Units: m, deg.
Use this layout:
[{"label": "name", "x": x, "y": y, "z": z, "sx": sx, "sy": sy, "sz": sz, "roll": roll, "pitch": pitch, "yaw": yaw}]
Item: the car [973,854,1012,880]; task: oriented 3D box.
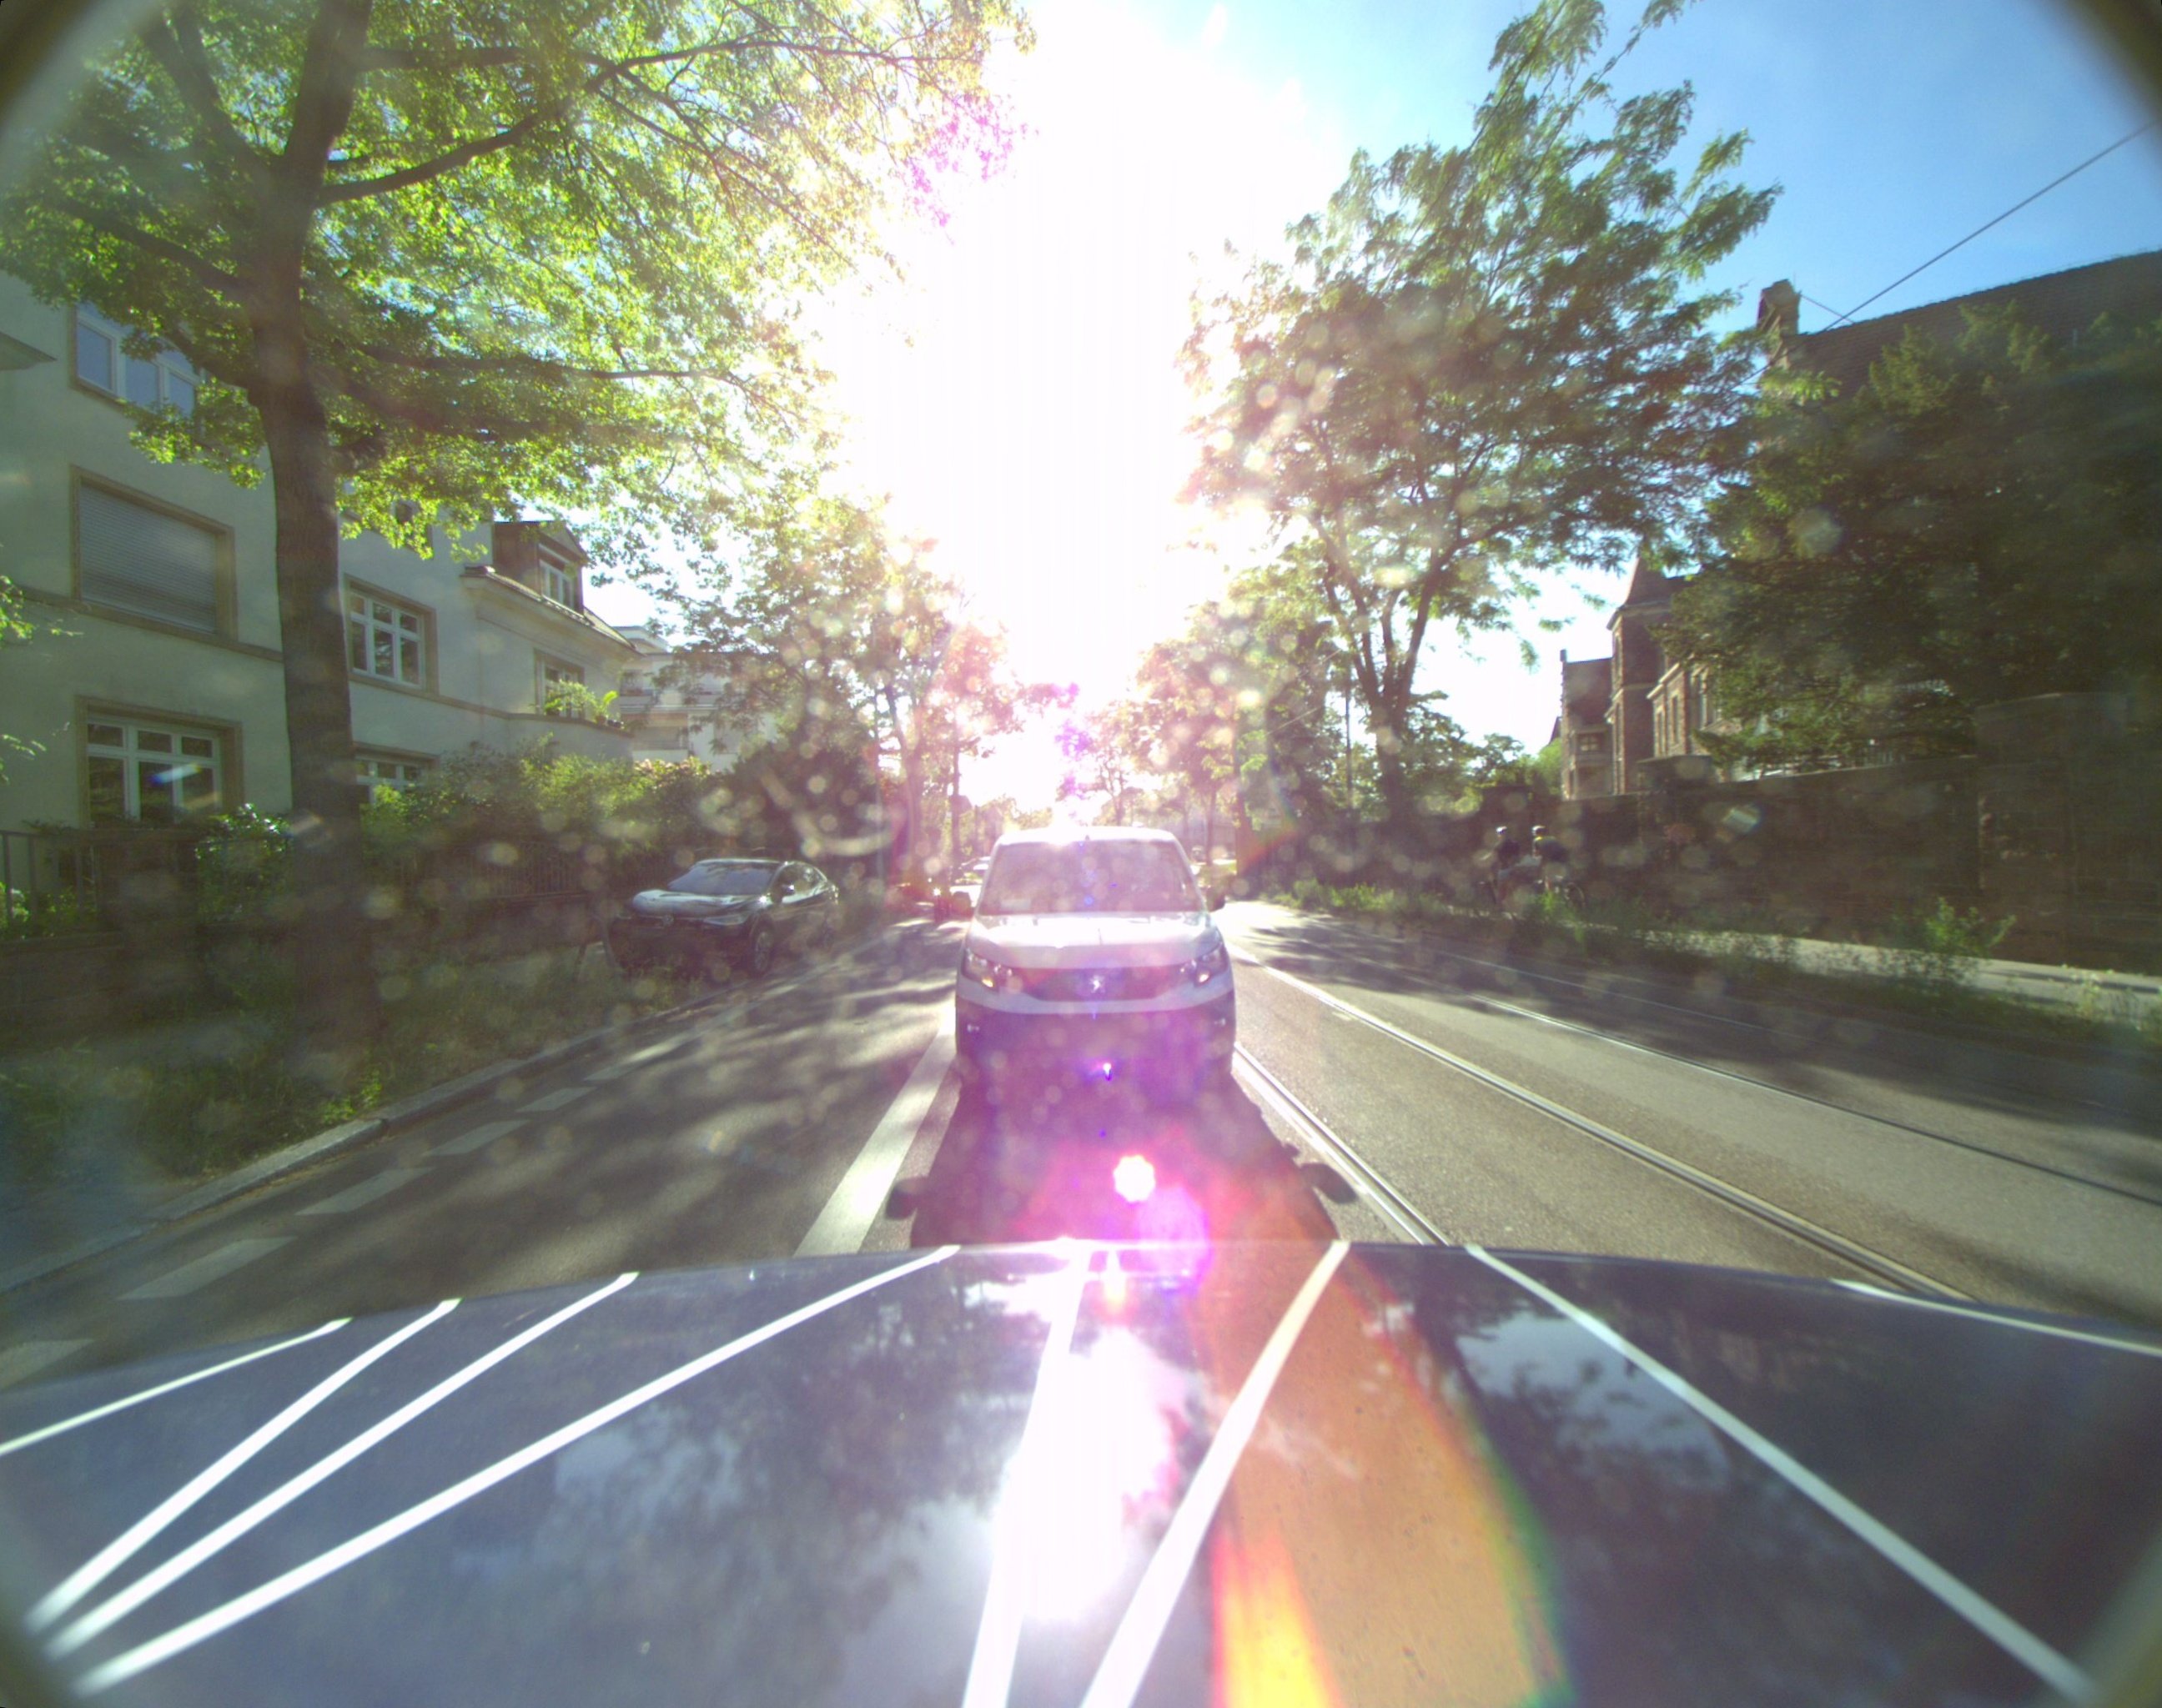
[{"label": "car", "x": -5.255, "y": 0.750, "z": 45.452, "sx": 1.787, "sy": 1.443, "sz": 4.000, "roll": -2, "pitch": 0, "yaw": 1}]

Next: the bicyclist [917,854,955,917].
[{"label": "bicyclist", "x": -3.522, "y": 0.745, "z": 18.515, "sx": 0.623, "sy": 1.479, "sz": 1.115, "roll": -2, "pitch": 0, "yaw": 1}]

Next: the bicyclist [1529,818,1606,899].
[{"label": "bicyclist", "x": 9.179, "y": 0.075, "z": 14.375, "sx": 0.655, "sy": 1.451, "sz": 1.151, "roll": -2, "pitch": 1, "yaw": -3}]

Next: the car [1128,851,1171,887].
[{"label": "car", "x": 3.262, "y": 0.686, "z": 36.754, "sx": 1.822, "sy": 1.597, "sz": 4.360, "roll": -2, "pitch": 0, "yaw": 3}]

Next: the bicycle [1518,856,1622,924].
[{"label": "bicycle", "x": 9.186, "y": 0.642, "z": 14.373, "sx": 0.686, "sy": 1.083, "sz": 1.853, "roll": -1, "pitch": 3, "yaw": -3}]

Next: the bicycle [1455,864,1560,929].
[{"label": "bicycle", "x": 7.883, "y": 0.747, "z": 14.169, "sx": 0.686, "sy": 1.082, "sz": 2.063, "roll": -2, "pitch": 0, "yaw": -4}]

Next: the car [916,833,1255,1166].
[{"label": "car", "x": 0.043, "y": 0.785, "z": 6.524, "sx": 1.793, "sy": 1.770, "sz": 4.786, "roll": -2, "pitch": 0, "yaw": 0}]

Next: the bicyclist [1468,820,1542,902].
[{"label": "bicyclist", "x": 7.867, "y": 0.125, "z": 14.137, "sx": 0.655, "sy": 1.451, "sz": 1.151, "roll": -2, "pitch": 1, "yaw": -3}]

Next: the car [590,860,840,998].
[{"label": "car", "x": -5.163, "y": 0.944, "z": 11.412, "sx": 1.743, "sy": 1.597, "sz": 4.091, "roll": 2, "pitch": 0, "yaw": 0}]

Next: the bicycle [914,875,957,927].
[{"label": "bicycle", "x": -3.506, "y": 1.116, "z": 18.497, "sx": 0.644, "sy": 1.137, "sz": 1.815, "roll": -1, "pitch": 0, "yaw": 1}]

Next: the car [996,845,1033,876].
[{"label": "car", "x": -4.503, "y": 0.428, "z": 51.917, "sx": 1.998, "sy": 2.002, "sz": 4.583, "roll": -2, "pitch": 0, "yaw": 1}]
